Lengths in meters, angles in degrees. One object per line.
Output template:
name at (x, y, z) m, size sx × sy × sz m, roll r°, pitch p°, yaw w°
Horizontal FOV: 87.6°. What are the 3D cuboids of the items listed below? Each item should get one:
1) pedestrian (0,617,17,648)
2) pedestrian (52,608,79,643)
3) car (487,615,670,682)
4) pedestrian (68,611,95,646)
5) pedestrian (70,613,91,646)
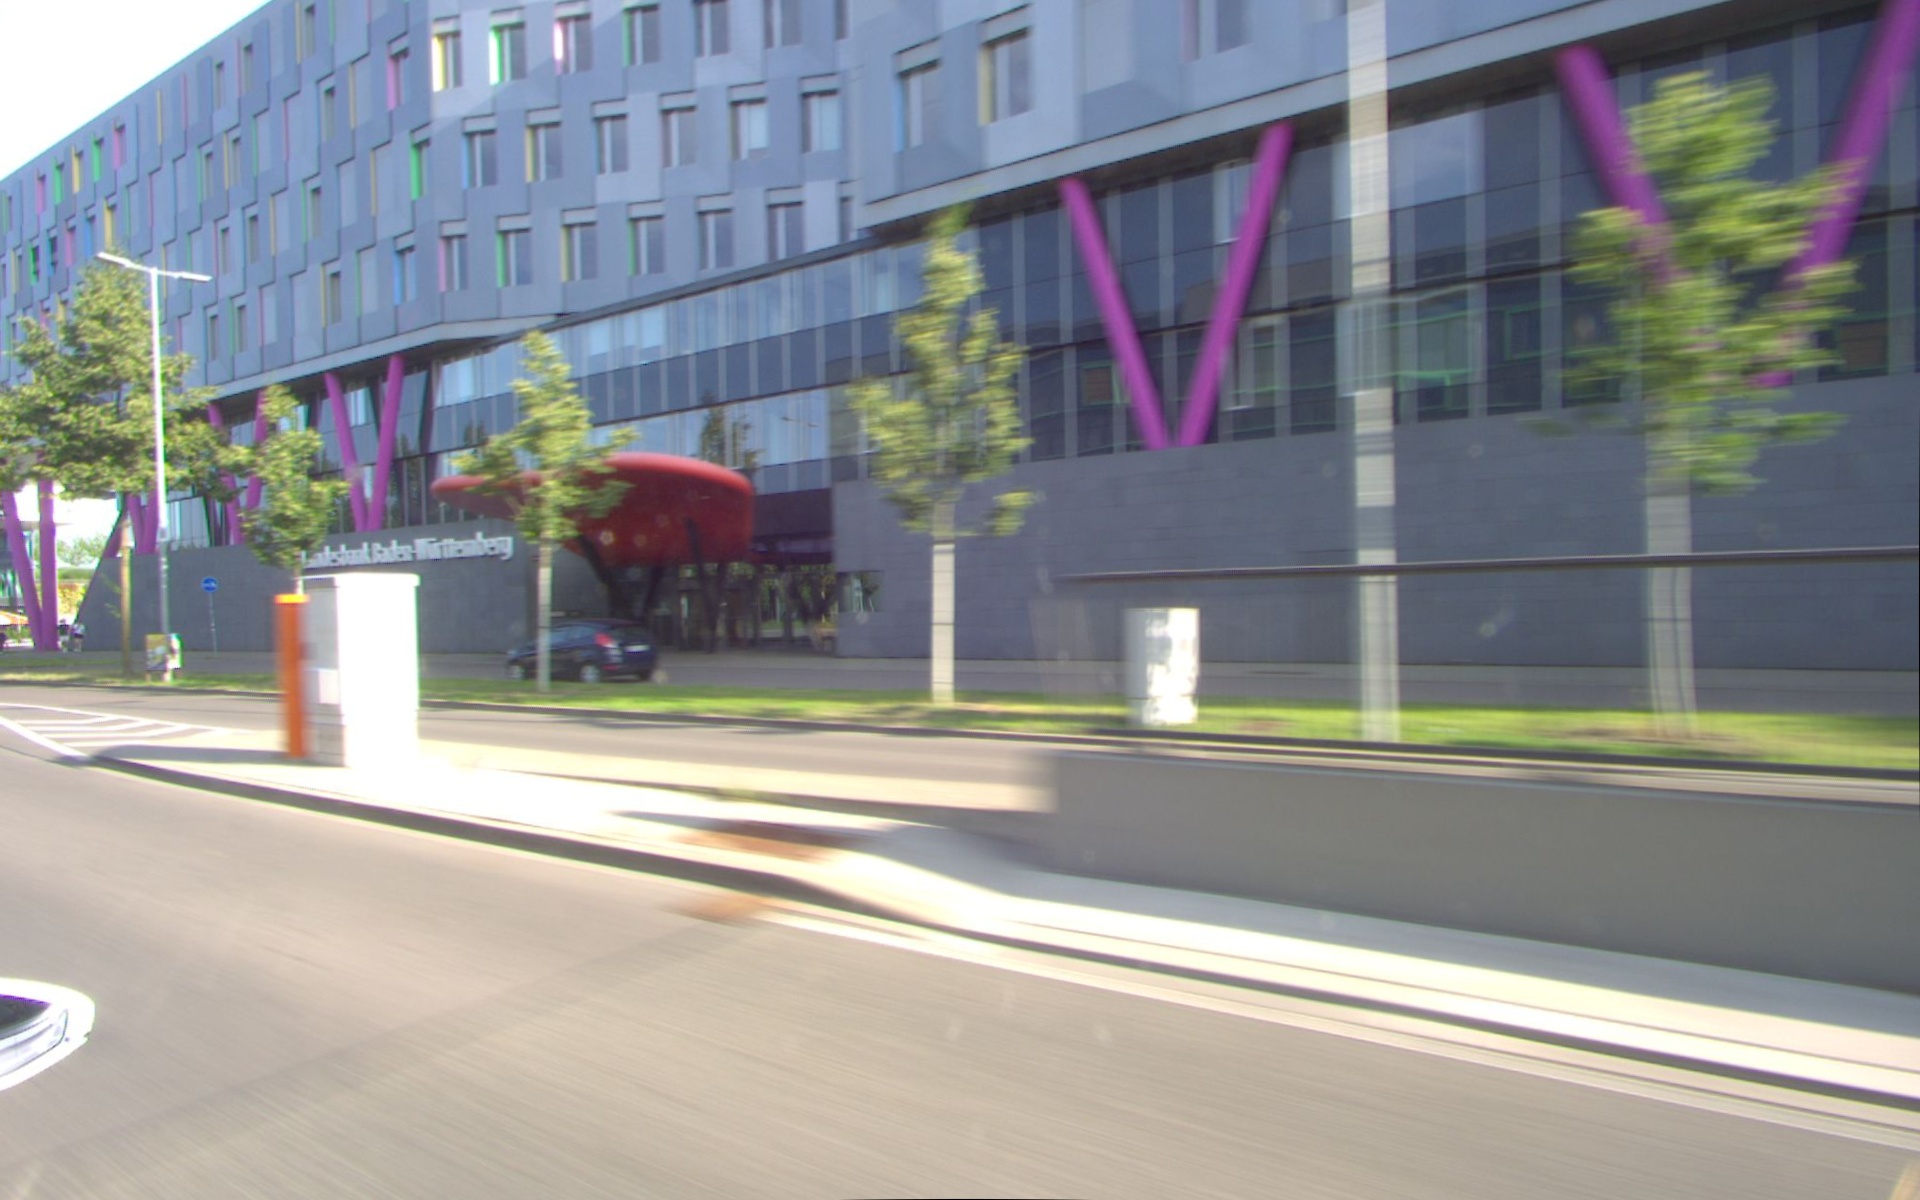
pedestrian at (-52.617, 1.766, 55.171) m, size 0.726 × 1.661 × 0.692 m, roll -1°, pitch 2°, yaw 30°
pedestrian at (-47.962, 1.349, 53.695) m, size 0.831 × 1.818 × 0.753 m, roll -1°, pitch 2°, yaw 30°
car at (-8.772, 1.057, 22.957) m, size 4.135 × 1.408 × 1.689 m, roll 0°, pitch 0°, yaw 30°
pedestrian at (-47.597, 1.538, 54.255) m, size 0.840 × 1.850 × 0.766 m, roll -1°, pitch 2°, yaw 30°
pedestrian at (-47.681, 1.602, 54.294) m, size 0.775 × 1.817 × 0.655 m, roll -1°, pitch 0°, yaw 30°
